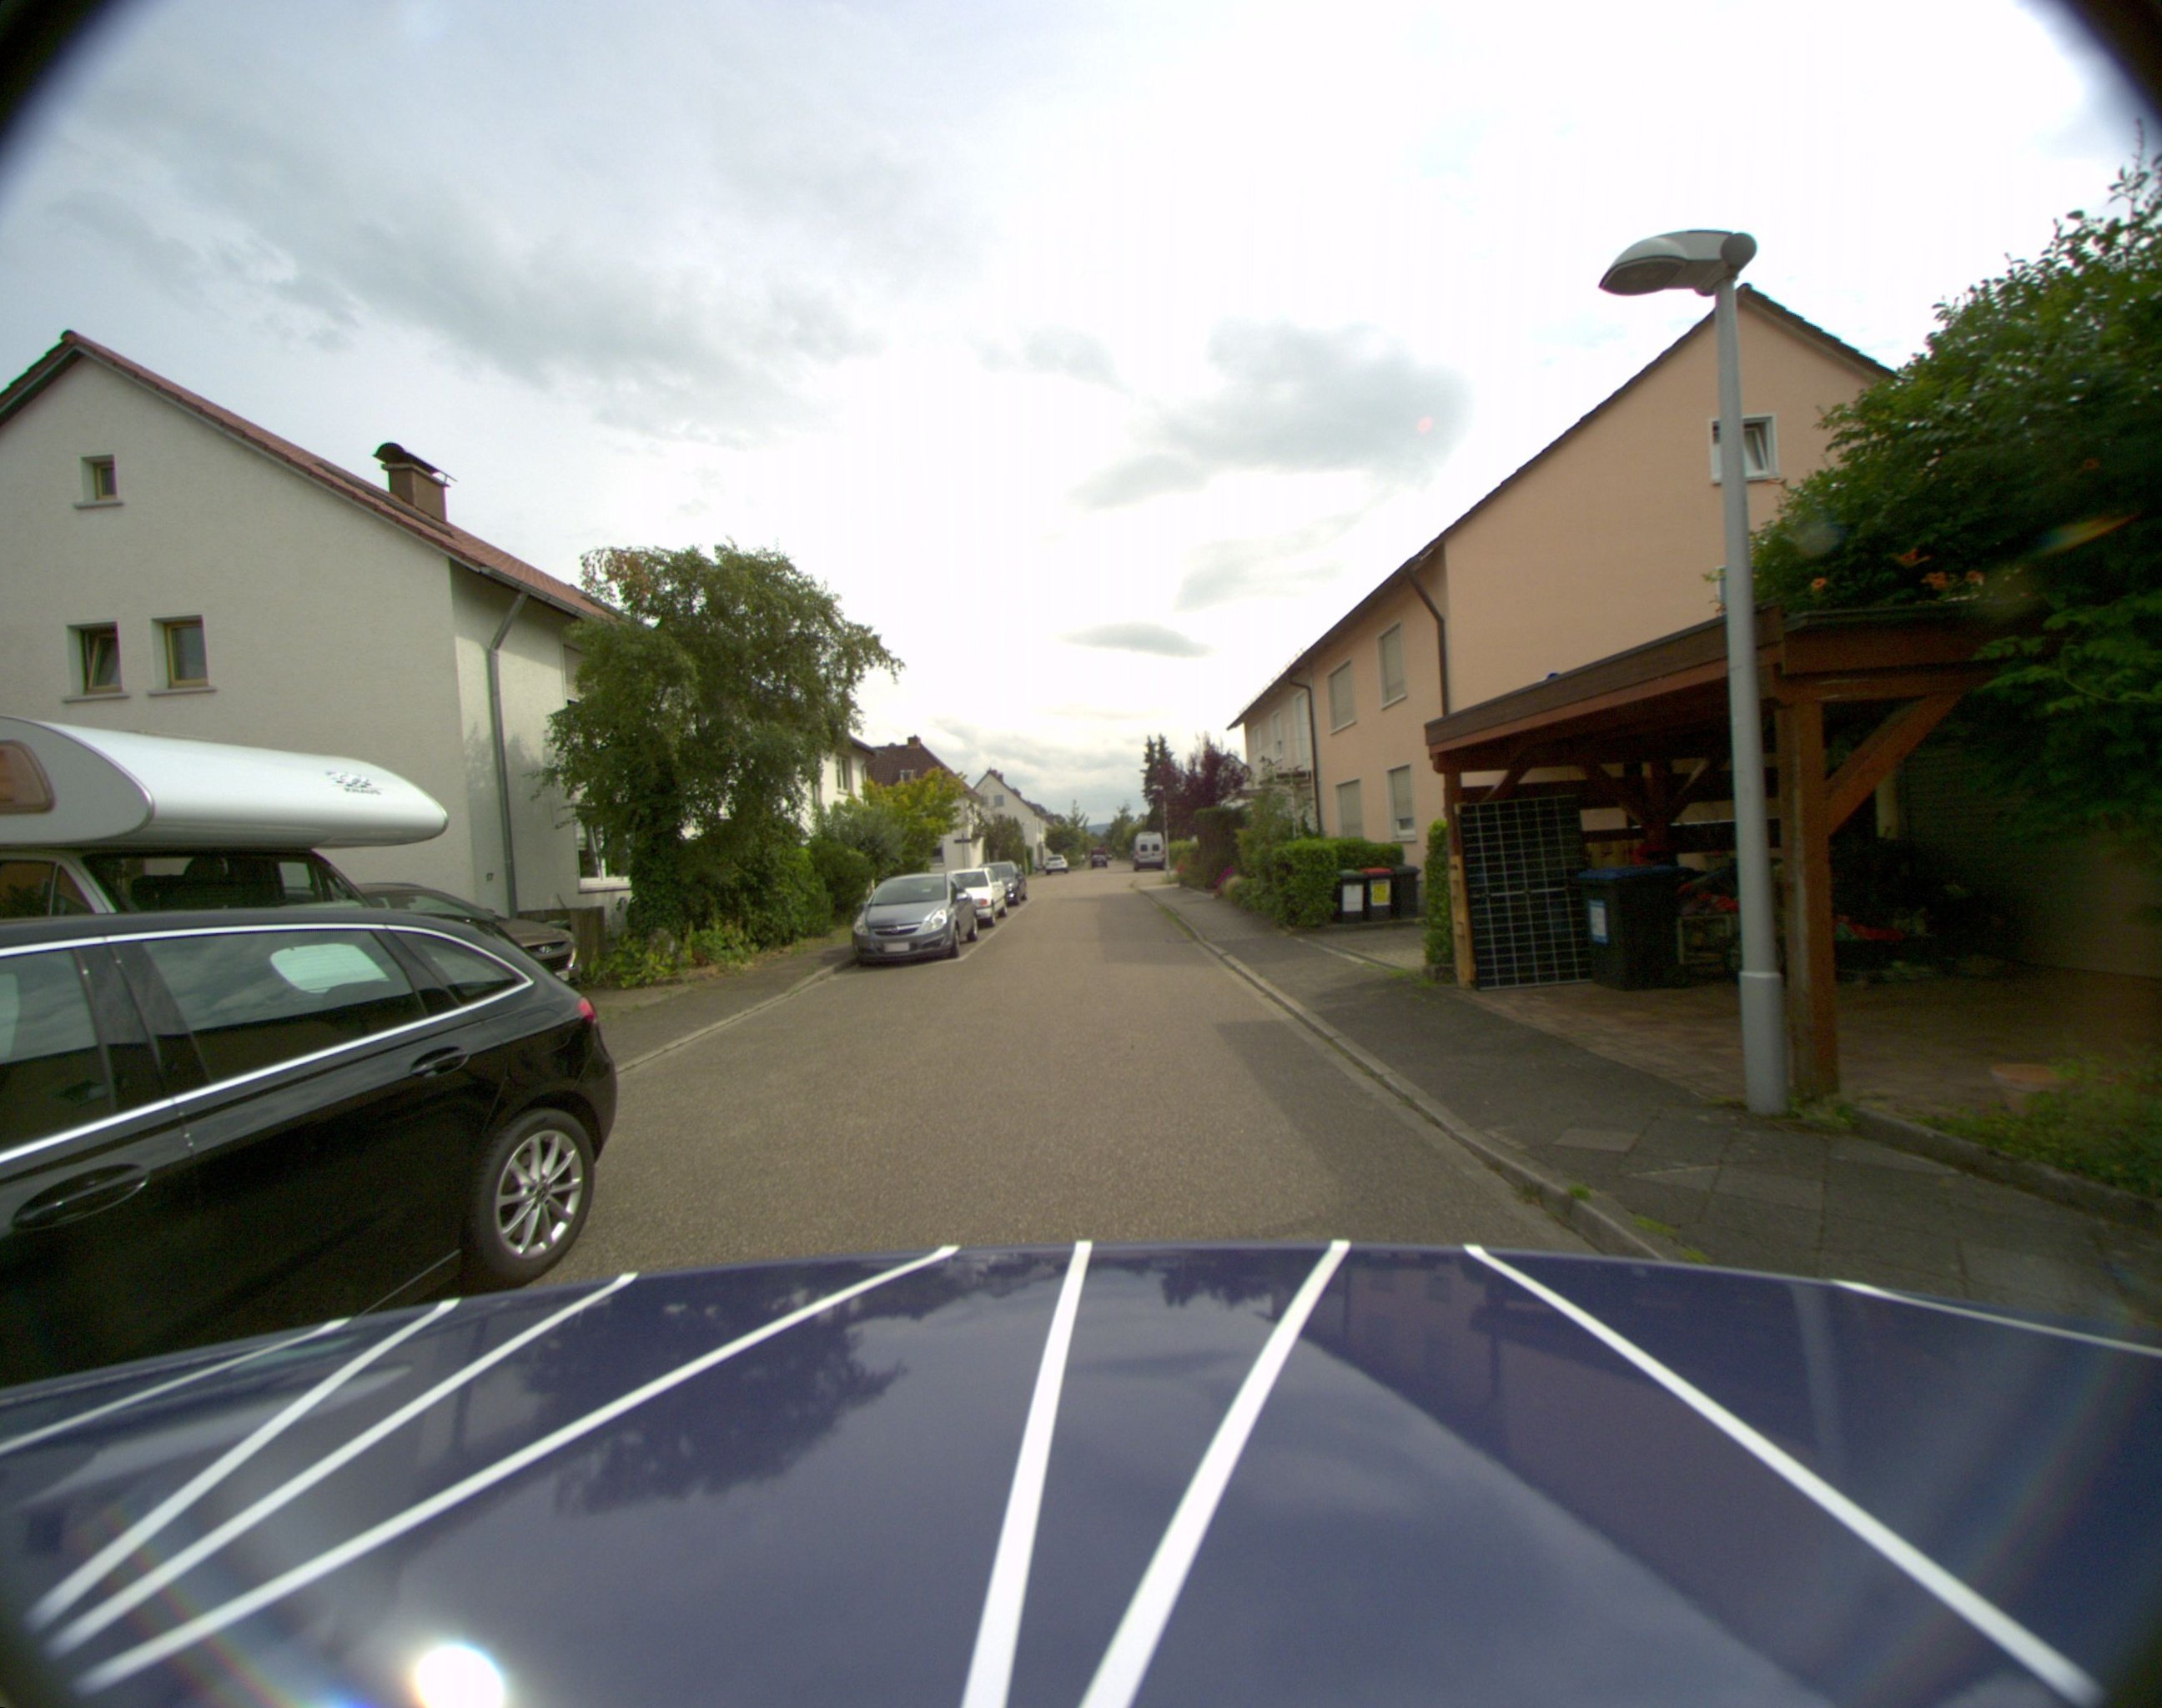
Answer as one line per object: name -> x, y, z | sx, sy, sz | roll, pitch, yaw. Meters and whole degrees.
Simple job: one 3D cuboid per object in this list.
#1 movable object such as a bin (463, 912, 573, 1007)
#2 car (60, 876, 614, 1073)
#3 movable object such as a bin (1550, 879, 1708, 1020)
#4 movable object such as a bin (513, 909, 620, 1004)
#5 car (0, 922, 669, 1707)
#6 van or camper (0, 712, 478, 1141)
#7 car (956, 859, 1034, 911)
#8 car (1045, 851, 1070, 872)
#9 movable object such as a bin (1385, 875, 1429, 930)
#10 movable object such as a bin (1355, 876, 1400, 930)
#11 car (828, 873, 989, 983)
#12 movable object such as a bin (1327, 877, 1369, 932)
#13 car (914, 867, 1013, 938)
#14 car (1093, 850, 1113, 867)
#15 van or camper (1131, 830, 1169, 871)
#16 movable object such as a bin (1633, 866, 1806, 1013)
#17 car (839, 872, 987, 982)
movable object such as a bin -> -8.084, 1.489, 10.962 | 0.655, 1.169, 1.142 | -3, 1, 1
car -> -8.257, 1.283, 8.738 | 4.541, 1.698, 1.899 | -4, 1, 4
movable object such as a bin -> 4.713, 0.789, 6.591 | 0.705, 1.065, 0.822 | -5, 1, 1
movable object such as a bin -> -7.372, 1.446, 10.949 | 0.721, 1.187, 1.099 | -3, 1, 1
car -> -3.016, 1.138, 1.476 | 1.753, 1.458, 4.647 | -4, 0, 1
van or camper -> -9.060, 0.620, 6.445 | 5.812, 2.801, 2.537 | -3, 1, 3
car -> -2.829, 0.975, 26.081 | 1.872, 1.431, 4.850 | -4, 0, 2
car -> -2.049, 0.634, 66.603 | 1.999, 1.590, 3.999 | -4, 0, -2
movable object such as a bin -> 5.678, 0.833, 13.265 | 0.481, 0.898, 0.583 | -3, 1, 1
movable object such as a bin -> 5.160, 0.850, 13.243 | 0.539, 0.875, 0.534 | -4, 1, 1
car -> -2.900, 1.188, 13.767 | 1.746, 1.462, 4.217 | -4, 0, 2
movable object such as a bin -> 4.618, 0.866, 13.181 | 0.497, 0.876, 0.530 | -4, 1, 1
car -> -2.843, 1.133, 19.393 | 1.697, 1.357, 4.698 | -4, 0, 0
car -> 2.492, 0.454, 85.998 | 1.998, 1.696, 4.001 | -4, 0, 5
van or camper -> 5.100, -0.258, 56.869 | 2.346, 2.719, 5.748 | -4, 0, 2
movable object such as a bin -> 5.470, 0.700, 6.568 | 0.705, 1.123, 0.877 | -4, 1, 1
car -> -2.843, 1.173, 13.799 | 1.707, 1.434, 4.219 | -5, 0, -1
